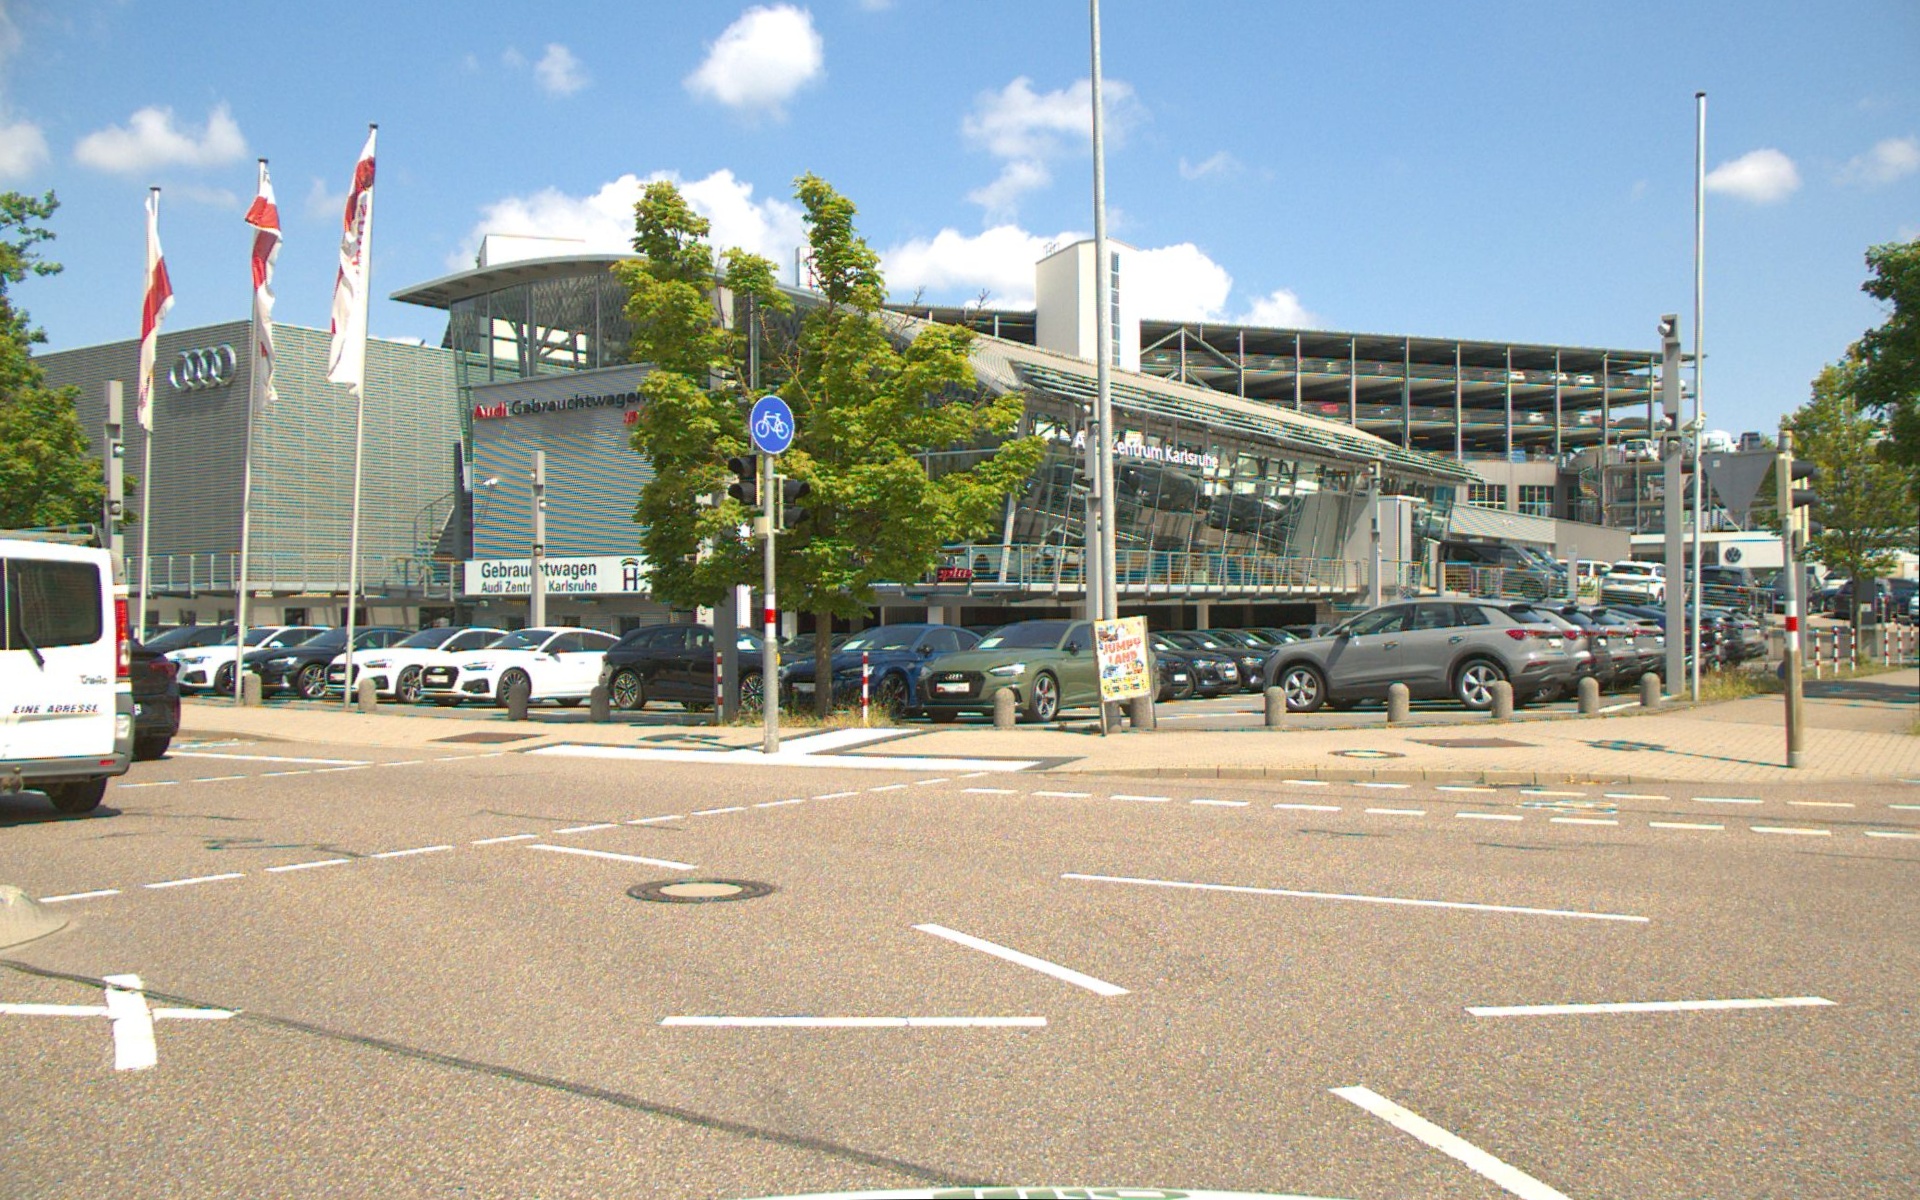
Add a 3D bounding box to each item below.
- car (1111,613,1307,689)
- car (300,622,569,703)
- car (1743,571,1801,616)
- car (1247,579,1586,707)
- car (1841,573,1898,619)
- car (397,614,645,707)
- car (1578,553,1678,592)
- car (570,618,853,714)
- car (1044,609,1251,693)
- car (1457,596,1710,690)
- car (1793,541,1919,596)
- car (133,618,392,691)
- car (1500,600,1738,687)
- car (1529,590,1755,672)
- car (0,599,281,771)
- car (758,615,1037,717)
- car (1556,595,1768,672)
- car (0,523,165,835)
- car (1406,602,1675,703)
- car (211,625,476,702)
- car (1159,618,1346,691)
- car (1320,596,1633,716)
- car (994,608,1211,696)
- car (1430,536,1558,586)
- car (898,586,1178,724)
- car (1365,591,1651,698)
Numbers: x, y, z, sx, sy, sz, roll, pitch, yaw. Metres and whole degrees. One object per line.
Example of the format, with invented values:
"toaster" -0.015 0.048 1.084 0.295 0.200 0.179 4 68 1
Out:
"car" 6.223 1.235 41.583 4.497 1.707 1.900 1 0 36
"car" -9.587 1.114 30.545 1.867 1.320 4.576 1 0 33
"car" 30.512 -0.225 62.120 1.533 1.579 3.592 1 0 33
"car" 6.808 0.688 24.872 4.497 1.707 1.900 -4 -3 35
"car" 32.831 -0.133 59.679 1.533 1.579 3.592 1 0 33
"car" -7.551 1.088 28.790 1.758 1.490 3.987 -1 -4 33
"car" 29.183 -1.188 72.263 3.909 1.579 1.763 1 0 27
"car" -4.183 1.092 27.567 4.656 1.490 1.790 -1 -4 33
"car" 4.449 1.172 39.378 4.456 1.771 1.995 1 0 32
"car" 12.708 0.838 33.813 4.497 1.707 1.900 1 0 36
"car" 36.841 -1.253 65.946 6.276 2.139 1.759 1 0 34
"car" -14.016 1.074 33.506 1.867 1.320 4.576 1 0 33
"car" 14.308 0.911 36.014 4.497 1.707 1.900 1 0 36
"car" 15.713 0.689 38.192 4.497 1.707 1.900 1 0 36
"car" -9.428 0.839 18.117 3.916 1.658 1.775 1 0 33
"car" -0.823 0.935 24.800 1.867 1.320 4.576 1 0 33
"car" 17.234 0.798 40.663 4.497 1.707 1.900 1 0 36
"car" -8.123 0.510 12.599 4.477 2.096 1.970 1 0 38
"car" 11.061 0.962 31.619 4.497 1.707 1.900 1 0 36
"car" -11.780 1.172 31.905 1.867 1.320 4.576 1 0 33
"car" 7.706 1.402 43.757 4.497 1.707 1.900 1 0 36
"car" 8.360 0.853 26.914 4.497 1.707 1.900 1 0 36
"car" 3.192 1.125 37.281 4.456 1.771 1.995 1 0 32
"car" 20.439 -1.504 63.362 4.362 1.833 1.760 1 0 33
"car" 1.218 0.730 23.277 1.867 1.707 4.576 1 0 33
"car" 9.750 0.747 29.553 4.497 1.707 1.900 1 0 36
